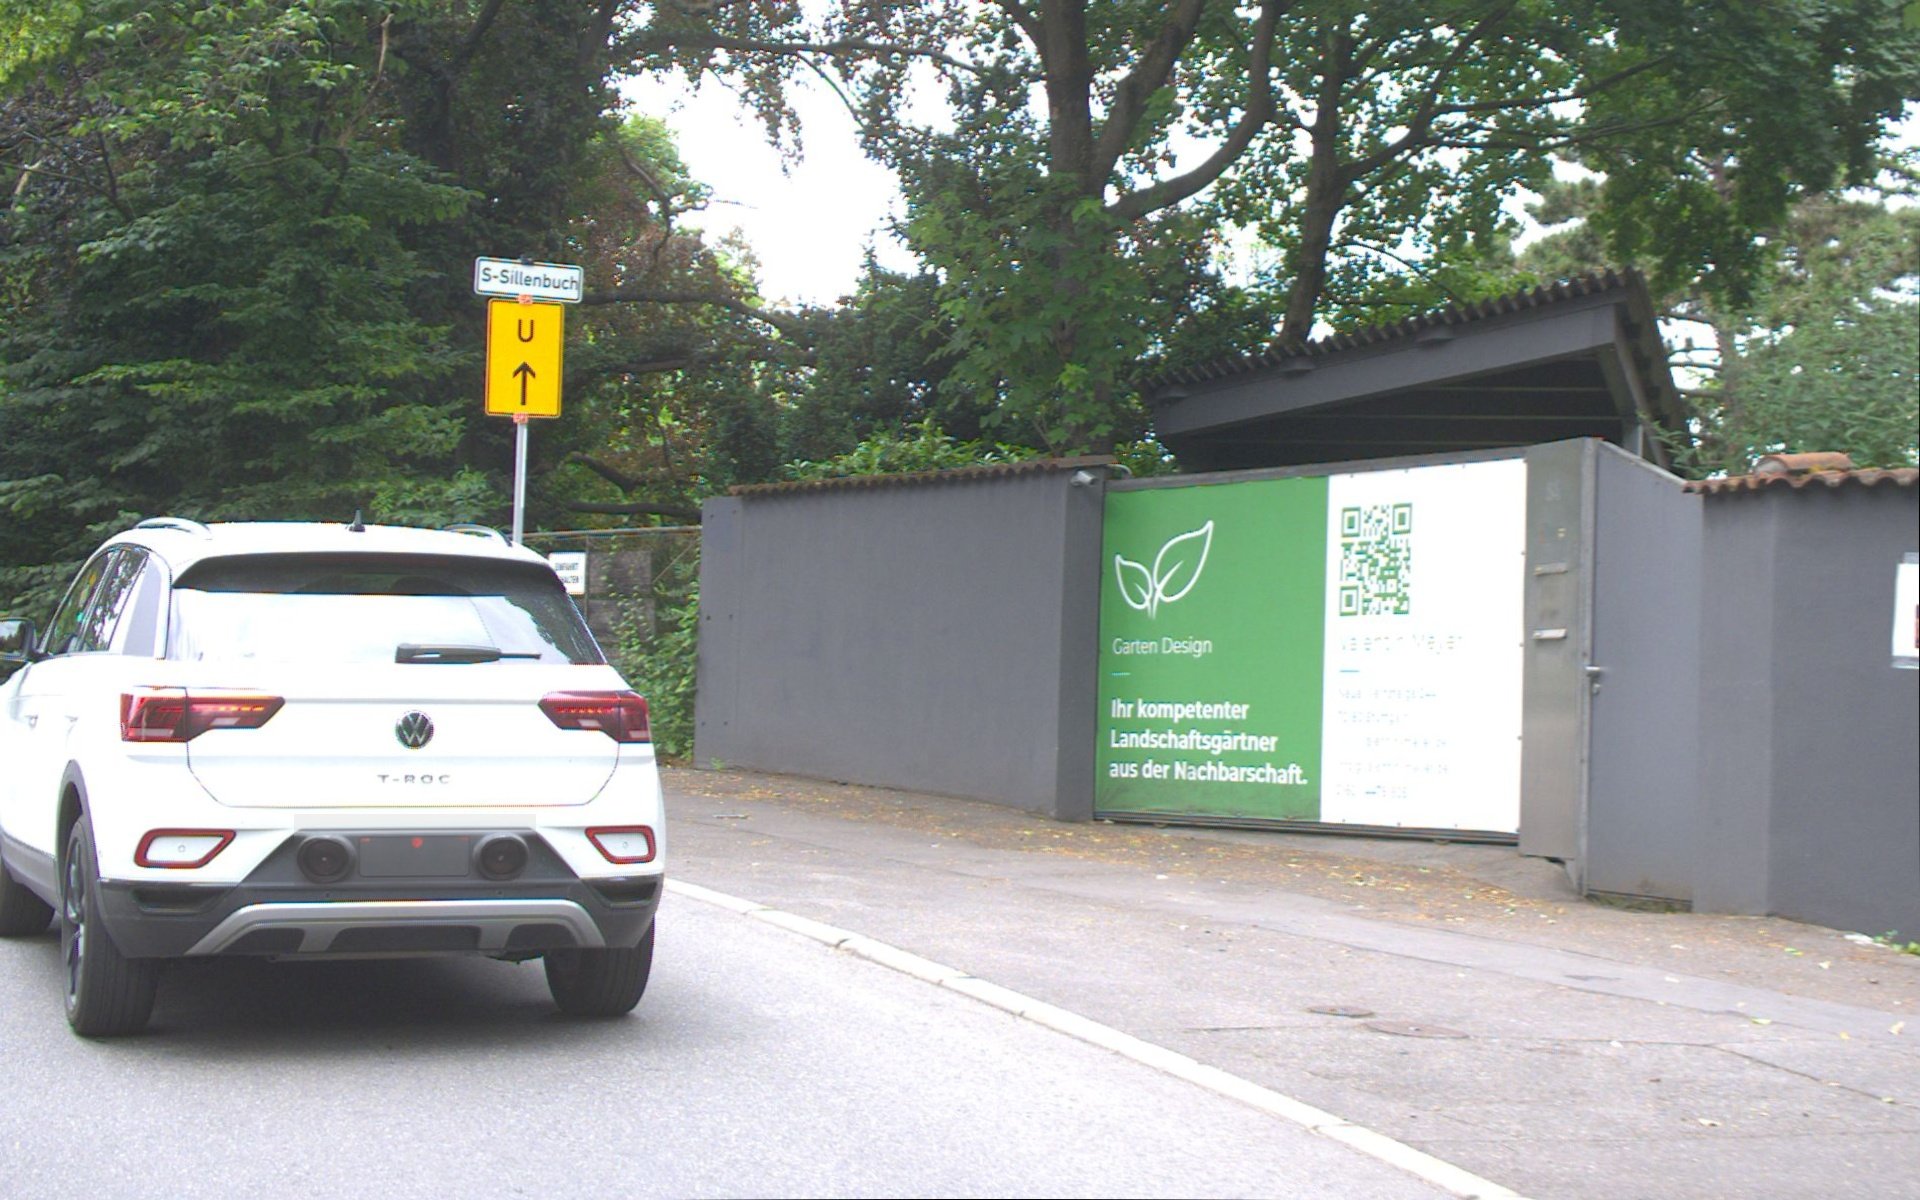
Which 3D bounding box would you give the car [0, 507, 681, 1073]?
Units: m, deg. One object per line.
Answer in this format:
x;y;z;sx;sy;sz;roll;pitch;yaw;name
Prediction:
-2.389;0.468;11.854;1.754;1.547;4.339;0;2;-20;car
